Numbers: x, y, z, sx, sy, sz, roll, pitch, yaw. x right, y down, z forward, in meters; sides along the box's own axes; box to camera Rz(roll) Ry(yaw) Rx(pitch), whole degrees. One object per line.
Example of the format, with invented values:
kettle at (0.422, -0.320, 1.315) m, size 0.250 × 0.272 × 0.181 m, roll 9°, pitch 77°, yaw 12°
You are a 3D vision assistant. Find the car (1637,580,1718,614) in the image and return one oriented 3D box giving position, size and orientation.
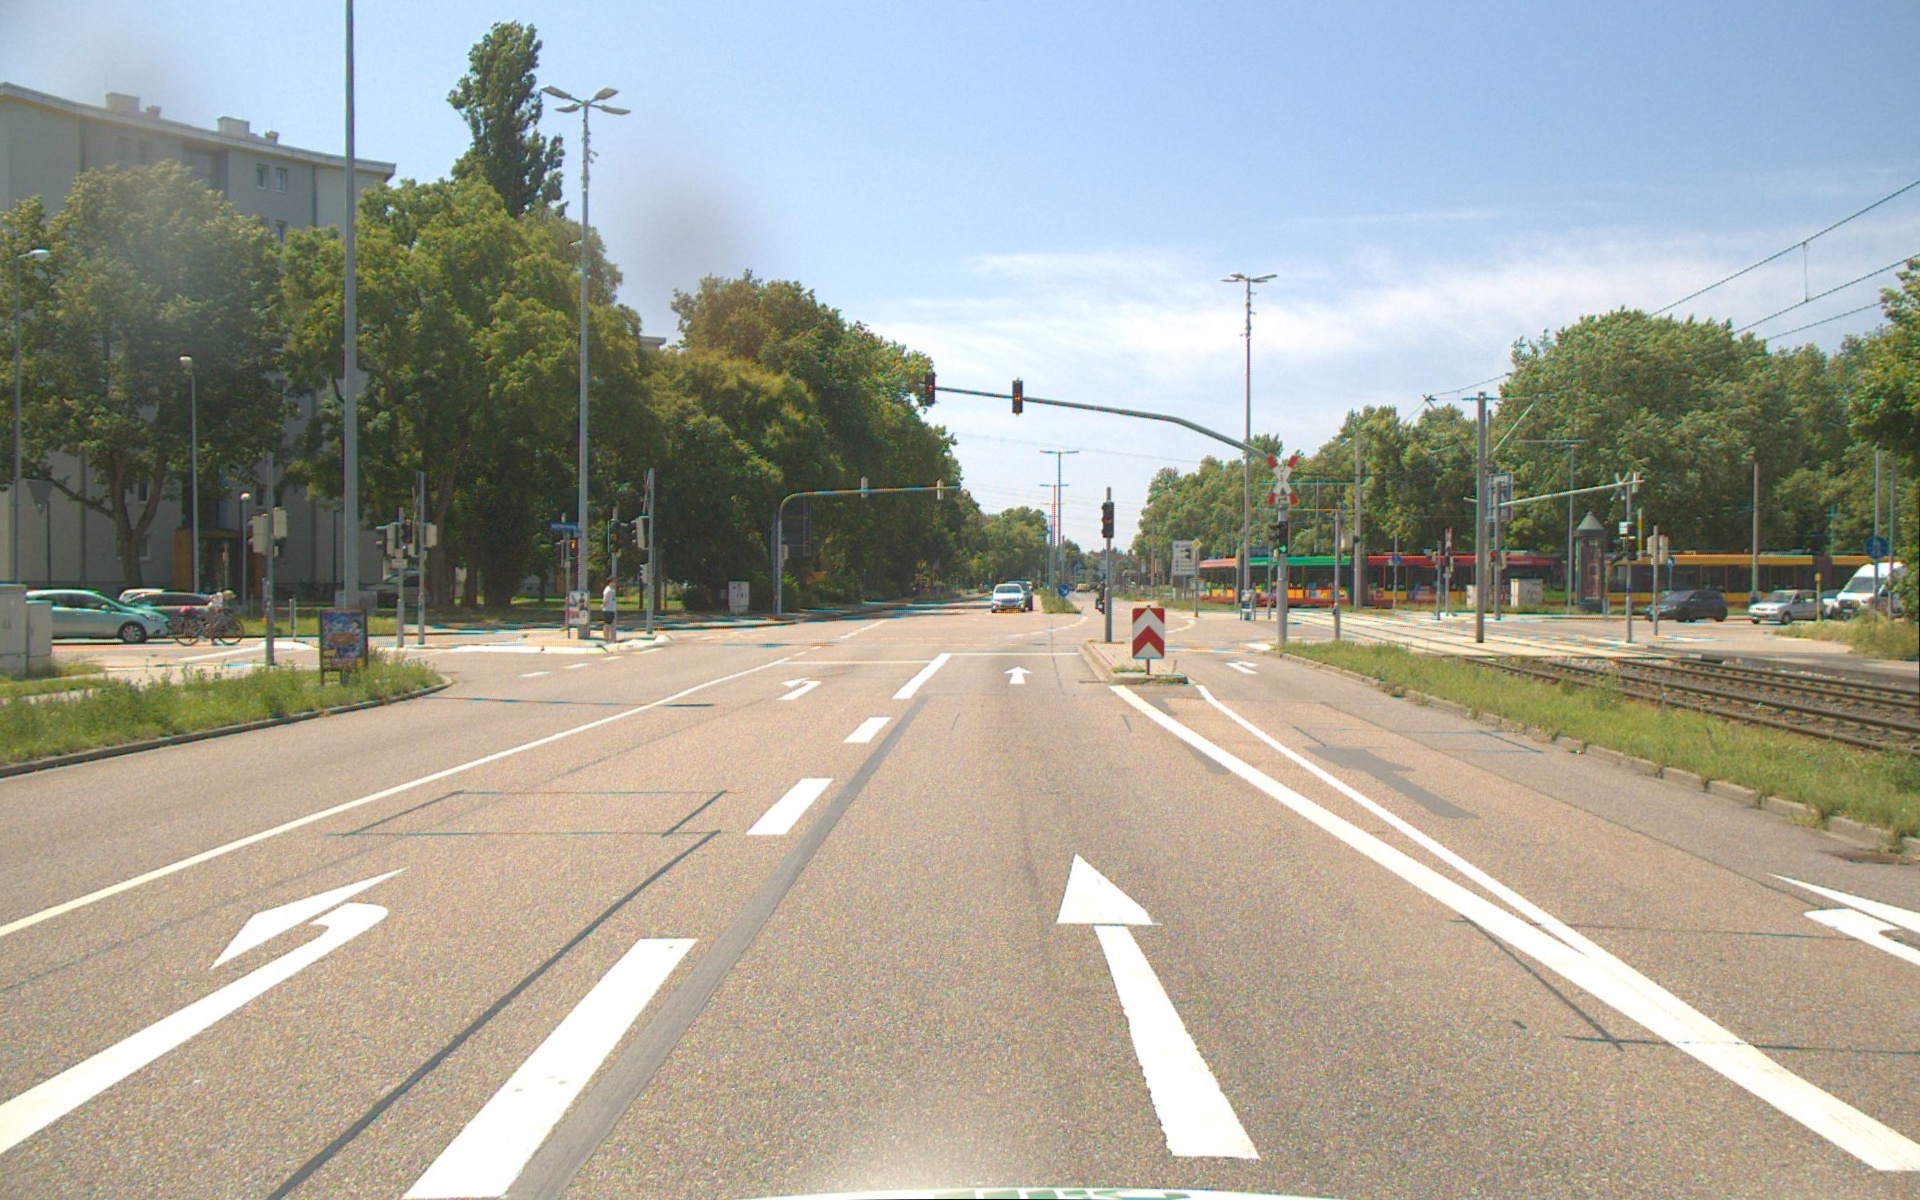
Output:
car at (32.615, -0.151, 75.165) m, size 3.458 × 1.488 × 1.625 m, roll -1°, pitch 1°, yaw -29°

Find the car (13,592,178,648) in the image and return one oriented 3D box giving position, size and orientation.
car at (-23.781, 0.524, 45.629) m, size 3.830 × 1.494 × 1.764 m, roll 0°, pitch 1°, yaw -22°

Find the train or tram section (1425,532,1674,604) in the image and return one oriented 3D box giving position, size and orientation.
train or tram section at (34.850, -1.896, 98.190) m, size 13.711 × 3.988 × 2.923 m, roll 0°, pitch -2°, yaw 22°

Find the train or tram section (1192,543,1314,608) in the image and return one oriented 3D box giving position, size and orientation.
train or tram section at (20.140, -1.550, 115.013) m, size 2.867 × 3.878 × 13.014 m, roll 2°, pitch -2°, yaw -16°

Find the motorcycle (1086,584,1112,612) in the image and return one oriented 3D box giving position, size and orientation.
motorcycle at (6.659, -0.098, 79.298) m, size 0.829 × 1.277 × 2.451 m, roll 1°, pitch 1°, yaw 14°

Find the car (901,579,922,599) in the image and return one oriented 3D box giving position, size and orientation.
car at (-5.182, -1.149, 177.873) m, size 1.953 × 2.048 × 4.000 m, roll 3°, pitch 0°, yaw 0°

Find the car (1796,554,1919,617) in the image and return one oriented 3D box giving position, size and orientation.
car at (42.945, -0.705, 78.023) m, size 7.179 × 2.851 × 2.691 m, roll 0°, pitch 1°, yaw -29°

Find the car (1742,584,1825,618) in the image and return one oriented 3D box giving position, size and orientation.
car at (36.533, 0.032, 73.367) m, size 3.757 × 1.488 × 1.622 m, roll 0°, pitch 1°, yaw -32°

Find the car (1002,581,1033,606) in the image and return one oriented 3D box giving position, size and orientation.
car at (3.296, -0.406, 94.166) m, size 1.675 × 1.389 × 3.867 m, roll 0°, pitch 1°, yaw 3°

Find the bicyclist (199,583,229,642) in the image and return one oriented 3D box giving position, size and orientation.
bicyclist at (-19.997, 0.337, 44.346) m, size 0.654 × 1.564 × 0.628 m, roll 0°, pitch 0°, yaw -19°

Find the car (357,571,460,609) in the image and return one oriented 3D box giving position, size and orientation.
car at (-26.841, -0.493, 80.640) m, size 1.761 × 1.799 × 4.520 m, roll 1°, pitch 1°, yaw 43°

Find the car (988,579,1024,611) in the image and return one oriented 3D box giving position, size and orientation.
car at (2.433, -0.285, 86.483) m, size 1.747 × 1.657 × 3.867 m, roll 0°, pitch 1°, yaw 3°

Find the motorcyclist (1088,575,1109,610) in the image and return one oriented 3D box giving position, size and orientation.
motorcyclist at (6.623, -0.369, 79.143) m, size 0.773 × 1.671 × 1.212 m, roll 1°, pitch 0°, yaw 15°

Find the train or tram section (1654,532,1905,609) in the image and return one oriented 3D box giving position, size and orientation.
train or tram section at (47.718, -1.669, 96.441) m, size 13.649 × 3.988 × 2.920 m, roll 2°, pitch -2°, yaw -6°

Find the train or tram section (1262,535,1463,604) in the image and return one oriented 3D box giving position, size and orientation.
train or tram section at (25.319, -1.809, 104.965) m, size 2.896 × 3.878 × 13.259 m, roll 3°, pitch -3°, yaw -40°

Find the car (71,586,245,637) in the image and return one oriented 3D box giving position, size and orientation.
car at (-24.687, 0.326, 51.098) m, size 4.540 × 1.525 × 1.904 m, roll 0°, pitch 1°, yaw -16°

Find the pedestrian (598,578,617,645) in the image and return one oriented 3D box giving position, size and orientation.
pedestrian at (-8.980, 0.288, 42.151) m, size 0.374 × 1.716 × 0.486 m, roll 0°, pitch 1°, yaw -1°

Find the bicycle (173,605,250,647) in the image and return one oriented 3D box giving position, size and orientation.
bicycle at (-20.042, 0.690, 44.331) m, size 1.836 × 1.112 × 0.643 m, roll 0°, pitch 0°, yaw -20°
